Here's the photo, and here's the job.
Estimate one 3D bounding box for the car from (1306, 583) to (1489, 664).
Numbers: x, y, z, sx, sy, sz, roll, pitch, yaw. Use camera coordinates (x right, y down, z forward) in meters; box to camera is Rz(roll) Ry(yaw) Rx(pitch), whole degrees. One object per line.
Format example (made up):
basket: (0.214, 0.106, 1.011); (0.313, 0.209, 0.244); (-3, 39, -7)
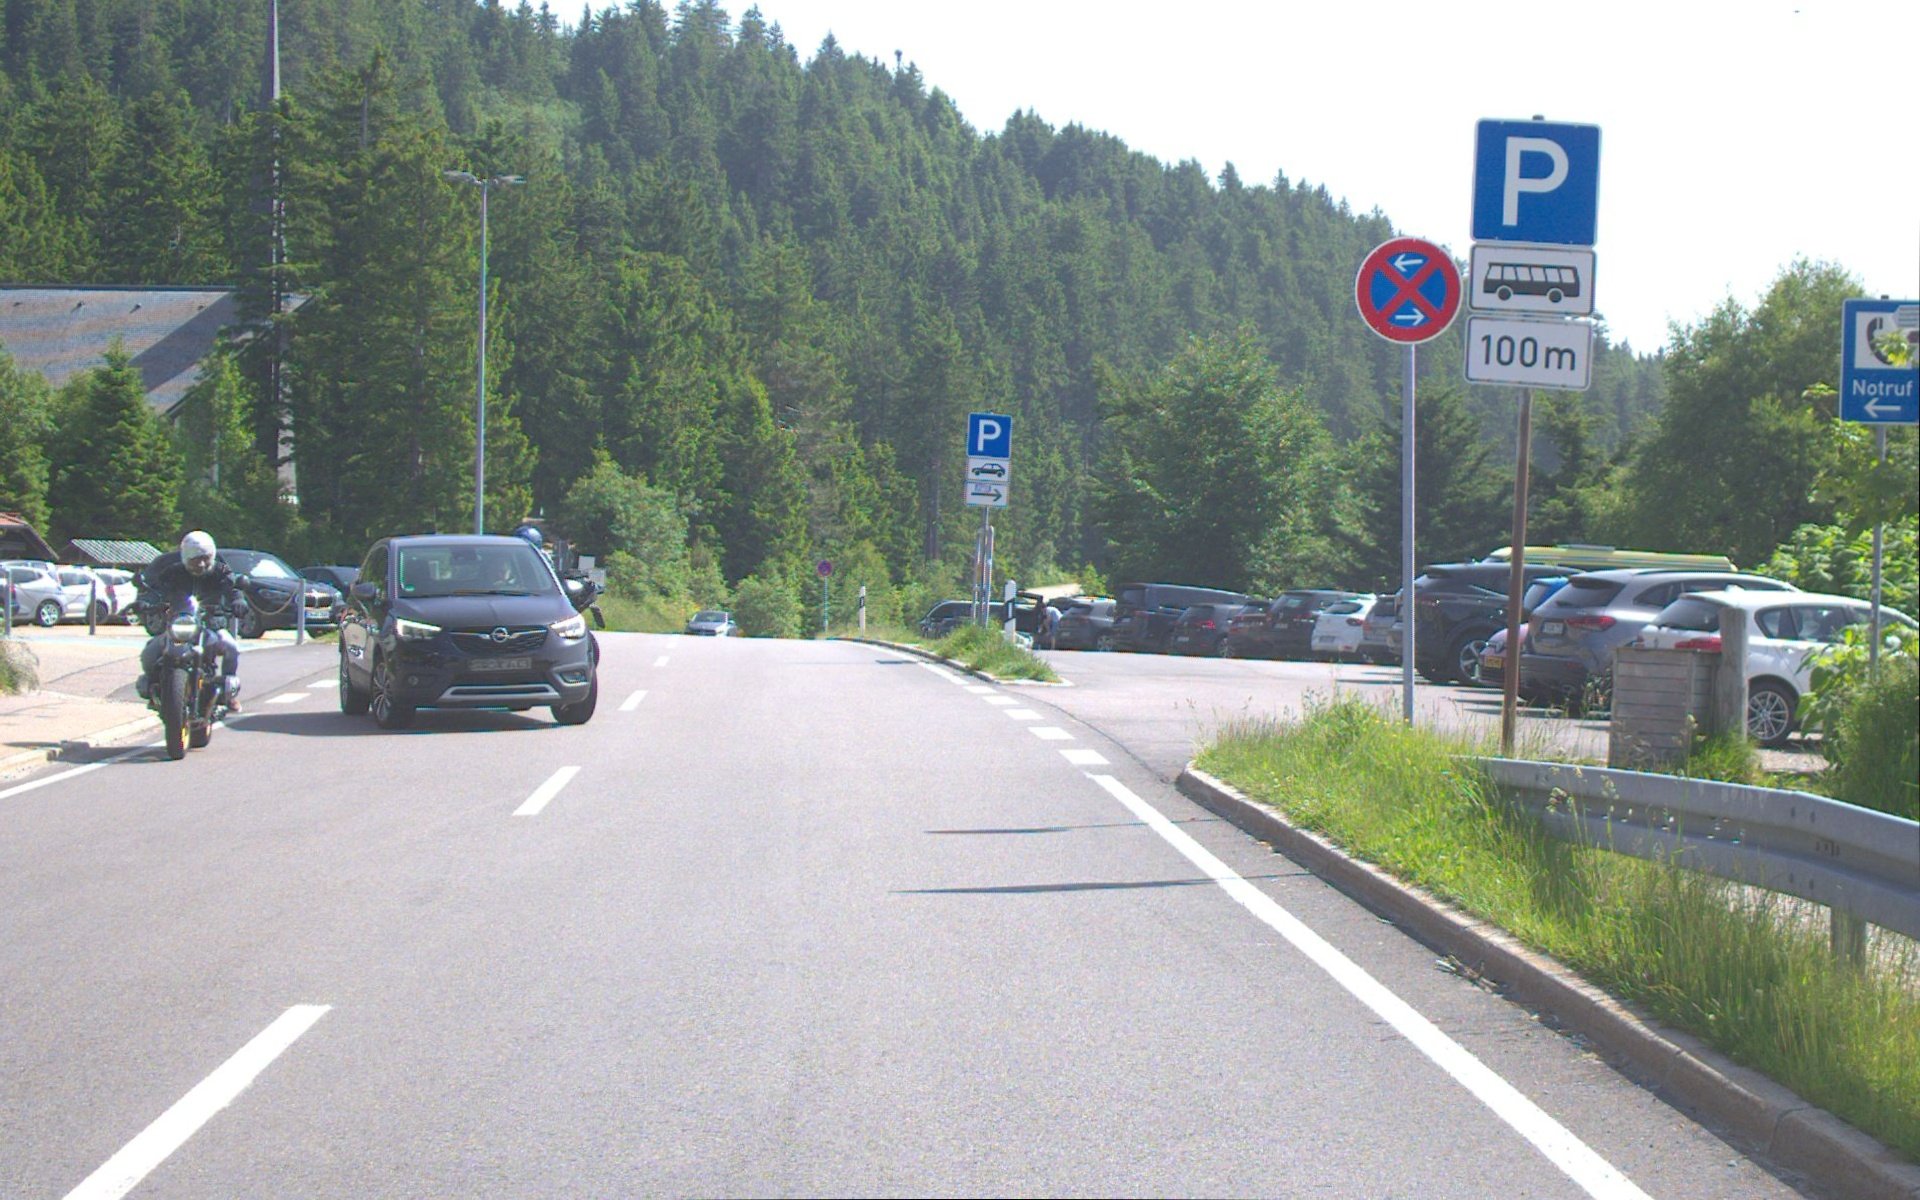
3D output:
car: (9.820, 0.534, 77.072); (3.988, 1.471, 1.767); (5, -1, -41)

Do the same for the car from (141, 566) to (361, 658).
car: (-12.654, 0.190, 61.210); (4.190, 1.535, 1.803); (1, 1, 45)

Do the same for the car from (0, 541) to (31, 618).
car: (-22.657, -0.472, 75.434); (3.989, 1.698, 1.825); (0, 1, -43)

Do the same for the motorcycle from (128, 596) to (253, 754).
motorcycle: (-5.646, 0.523, 25.217); (0.838, 1.092, 2.183); (-1, 0, -13)

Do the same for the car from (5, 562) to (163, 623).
car: (-24.663, -0.194, 96.889); (1.775, 1.666, 4.021); (-1, 0, 40)

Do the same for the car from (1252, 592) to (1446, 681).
car: (9.006, 0.850, 79.384); (4.261, 1.689, 1.990); (5, -1, -41)

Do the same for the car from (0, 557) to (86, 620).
car: (-23.730, -0.292, 84.445); (1.898, 1.539, 3.990); (1, 1, 43)

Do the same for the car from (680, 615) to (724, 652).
car: (-10.613, 1.353, 141.605); (1.580, 1.424, 3.372); (1, 1, -1)

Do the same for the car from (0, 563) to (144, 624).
car: (-23.858, -0.185, 90.930); (1.998, 1.568, 3.990); (1, 0, 42)

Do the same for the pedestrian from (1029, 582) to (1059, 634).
pedestrian: (2.282, 0.219, 93.060); (0.773, 1.398, 0.669); (1, 1, 3)

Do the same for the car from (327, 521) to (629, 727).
car: (-4.196, 0.161, 29.386); (1.979, 1.611, 4.151); (-1, 1, -16)

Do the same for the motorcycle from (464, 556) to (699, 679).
motorcycle: (-3.971, 0.176, 36.118); (2.319, 1.261, 0.814); (0, 1, -28)

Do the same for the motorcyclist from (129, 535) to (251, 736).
motorcyclist: (-5.653, 0.252, 25.245); (0.838, 1.436, 1.006); (-1, 0, -13)

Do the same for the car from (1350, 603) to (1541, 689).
car: (10.488, 0.997, 74.167); (3.988, 1.544, 1.820); (5, -1, -41)

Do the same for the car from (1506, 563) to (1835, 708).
car: (8.703, 0.420, 42.294); (3.580, 1.490, 1.648); (4, 1, -2)

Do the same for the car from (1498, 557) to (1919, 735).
car: (8.058, 0.479, 35.704); (4.395, 1.563, 1.908); (4, 1, -14)

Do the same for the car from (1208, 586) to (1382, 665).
car: (8.114, 0.618, 83.137); (3.988, 1.584, 1.863); (5, -1, -41)

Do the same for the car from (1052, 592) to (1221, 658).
car: (4.705, 0.659, 91.674); (3.986, 1.438, 1.840); (5, -1, -25)

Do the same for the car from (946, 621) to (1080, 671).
car: (1.898, 1.653, 123.654); (4.452, 1.294, 1.583); (7, -1, -20)

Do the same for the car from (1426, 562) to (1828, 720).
car: (7.542, 0.450, 39.017); (3.986, 1.504, 1.843); (3, 1, -13)

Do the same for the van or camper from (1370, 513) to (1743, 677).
van or camper: (8.799, -0.081, 51.006); (5.090, 2.007, 1.882); (4, 1, 1)

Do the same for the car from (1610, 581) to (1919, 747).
car: (8.443, 0.647, 32.812); (3.985, 1.381, 1.658); (4, 0, -13)

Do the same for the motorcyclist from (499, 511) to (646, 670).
motorcyclist: (-4.064, -0.102, 36.062); (1.295, 1.636, 0.882); (0, 1, -28)

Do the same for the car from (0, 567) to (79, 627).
car: (-22.523, -0.084, 79.035); (3.989, 1.366, 1.811); (0, 1, -42)

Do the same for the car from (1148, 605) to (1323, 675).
car: (6.855, 1.007, 85.462); (3.986, 1.410, 1.745); (5, -1, -31)

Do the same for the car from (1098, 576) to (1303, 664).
car: (6.198, 0.512, 88.614); (4.756, 1.873, 1.967); (5, -1, -22)

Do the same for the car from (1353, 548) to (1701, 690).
car: (7.351, 0.231, 44.771); (3.986, 1.608, 1.917); (3, 0, -9)
